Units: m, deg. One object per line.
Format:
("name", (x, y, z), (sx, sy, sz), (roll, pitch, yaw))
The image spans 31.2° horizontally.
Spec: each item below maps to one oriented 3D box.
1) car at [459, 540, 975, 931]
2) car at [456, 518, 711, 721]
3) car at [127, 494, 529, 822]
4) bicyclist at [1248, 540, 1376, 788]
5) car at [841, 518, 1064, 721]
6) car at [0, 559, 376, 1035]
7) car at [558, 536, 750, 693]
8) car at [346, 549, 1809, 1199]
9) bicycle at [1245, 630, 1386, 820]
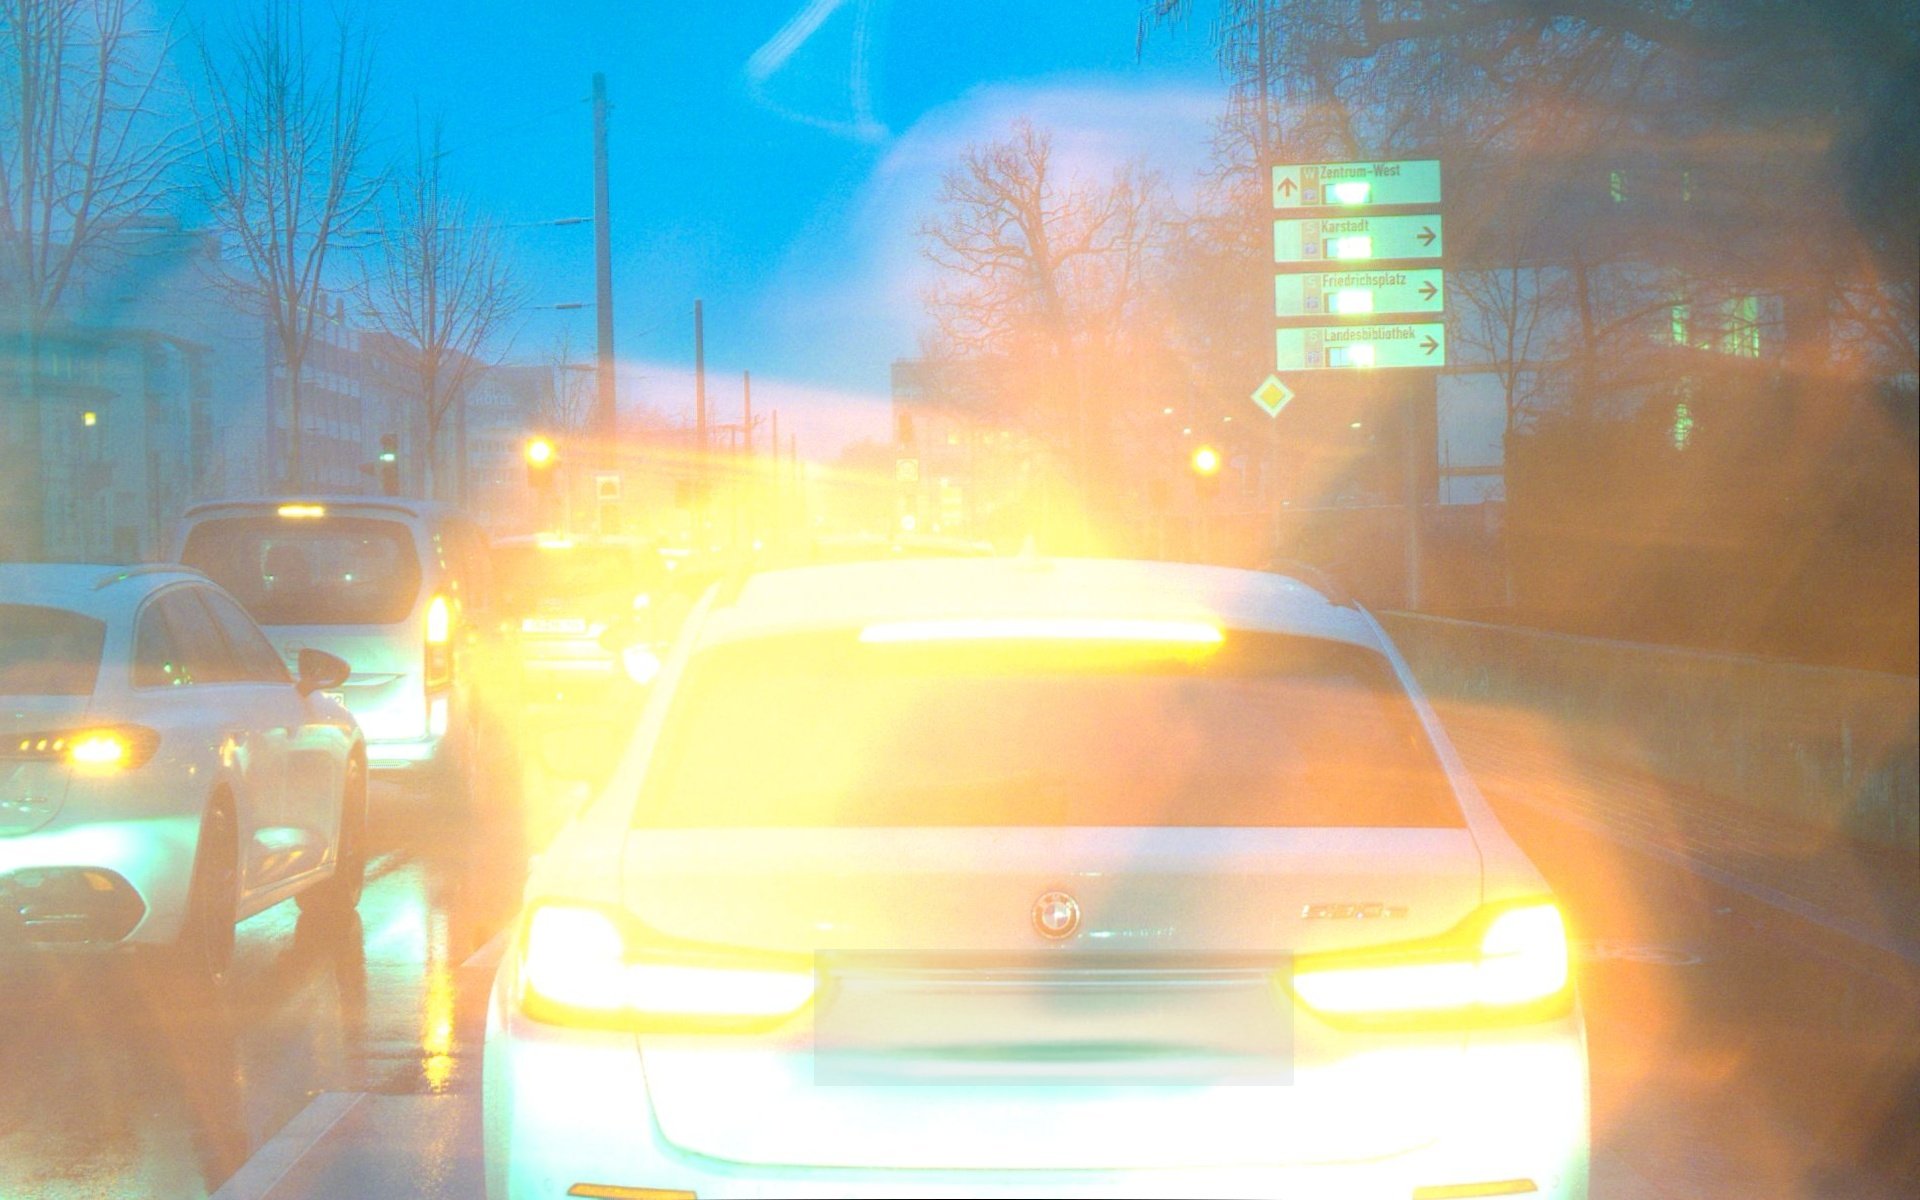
("car", (-0.937, 0.475, 15.041), (1.936, 1.452, 4.164), (0, 1, -1))
("car", (-3.190, 0.117, 29.799), (1.806, 1.640, 4.000), (0, 1, 0))
("car", (-3.612, 0.278, 20.390), (1.793, 1.730, 4.538), (0, 1, -3))
("bicyclist", (2.022, 0.354, 19.838), (0.645, 1.384, 0.890), (-1, 1, 2))
("car", (-0.080, 0.120, 29.791), (1.806, 1.640, 4.000), (0, 1, 0))
("car", (-3.373, 0.558, 12.487), (1.846, 1.400, 4.614), (0, 1, -2))
("car", (-3.334, 0.117, 38.068), (1.806, 1.640, 4.000), (0, 1, 0))
("car", (0.142, 0.666, 6.792), (1.999, 1.503, 4.164), (0, 1, -1))
("bicycle", (2.029, 0.693, 19.819), (0.645, 0.963, 2.046), (-1, 1, 2))
